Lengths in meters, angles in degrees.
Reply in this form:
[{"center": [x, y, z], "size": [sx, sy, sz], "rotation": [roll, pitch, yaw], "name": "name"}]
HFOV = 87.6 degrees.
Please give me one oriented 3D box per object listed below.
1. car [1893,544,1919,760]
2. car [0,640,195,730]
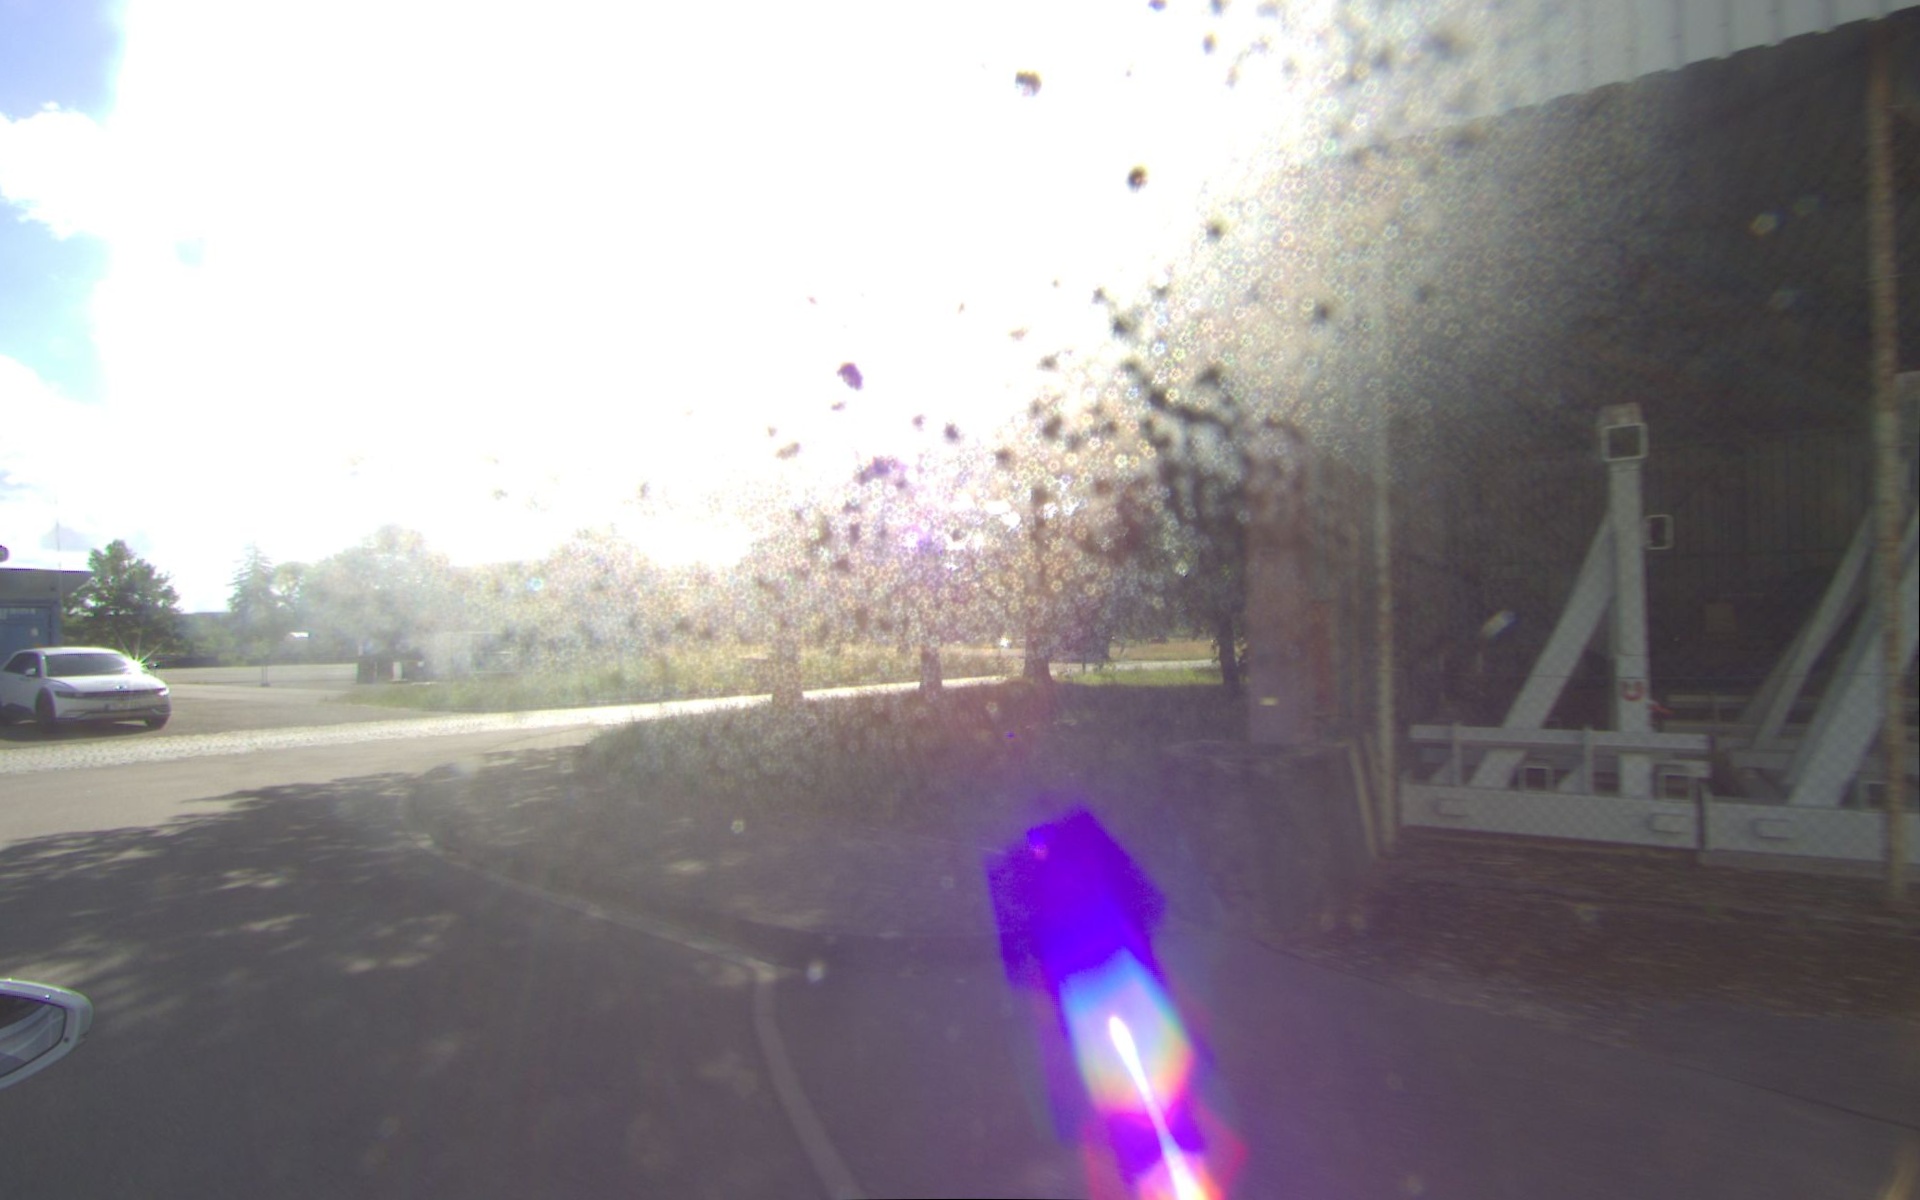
[{"center": [8.705, 0.387, 6.662], "size": [2.243, 1.942, 5.164], "rotation": [-2, -2, 27], "name": "car"}, {"center": [-17.915, 1.671, 20.690], "size": [4.278, 1.614, 1.978], "rotation": [-1, -2, 32], "name": "car"}]
